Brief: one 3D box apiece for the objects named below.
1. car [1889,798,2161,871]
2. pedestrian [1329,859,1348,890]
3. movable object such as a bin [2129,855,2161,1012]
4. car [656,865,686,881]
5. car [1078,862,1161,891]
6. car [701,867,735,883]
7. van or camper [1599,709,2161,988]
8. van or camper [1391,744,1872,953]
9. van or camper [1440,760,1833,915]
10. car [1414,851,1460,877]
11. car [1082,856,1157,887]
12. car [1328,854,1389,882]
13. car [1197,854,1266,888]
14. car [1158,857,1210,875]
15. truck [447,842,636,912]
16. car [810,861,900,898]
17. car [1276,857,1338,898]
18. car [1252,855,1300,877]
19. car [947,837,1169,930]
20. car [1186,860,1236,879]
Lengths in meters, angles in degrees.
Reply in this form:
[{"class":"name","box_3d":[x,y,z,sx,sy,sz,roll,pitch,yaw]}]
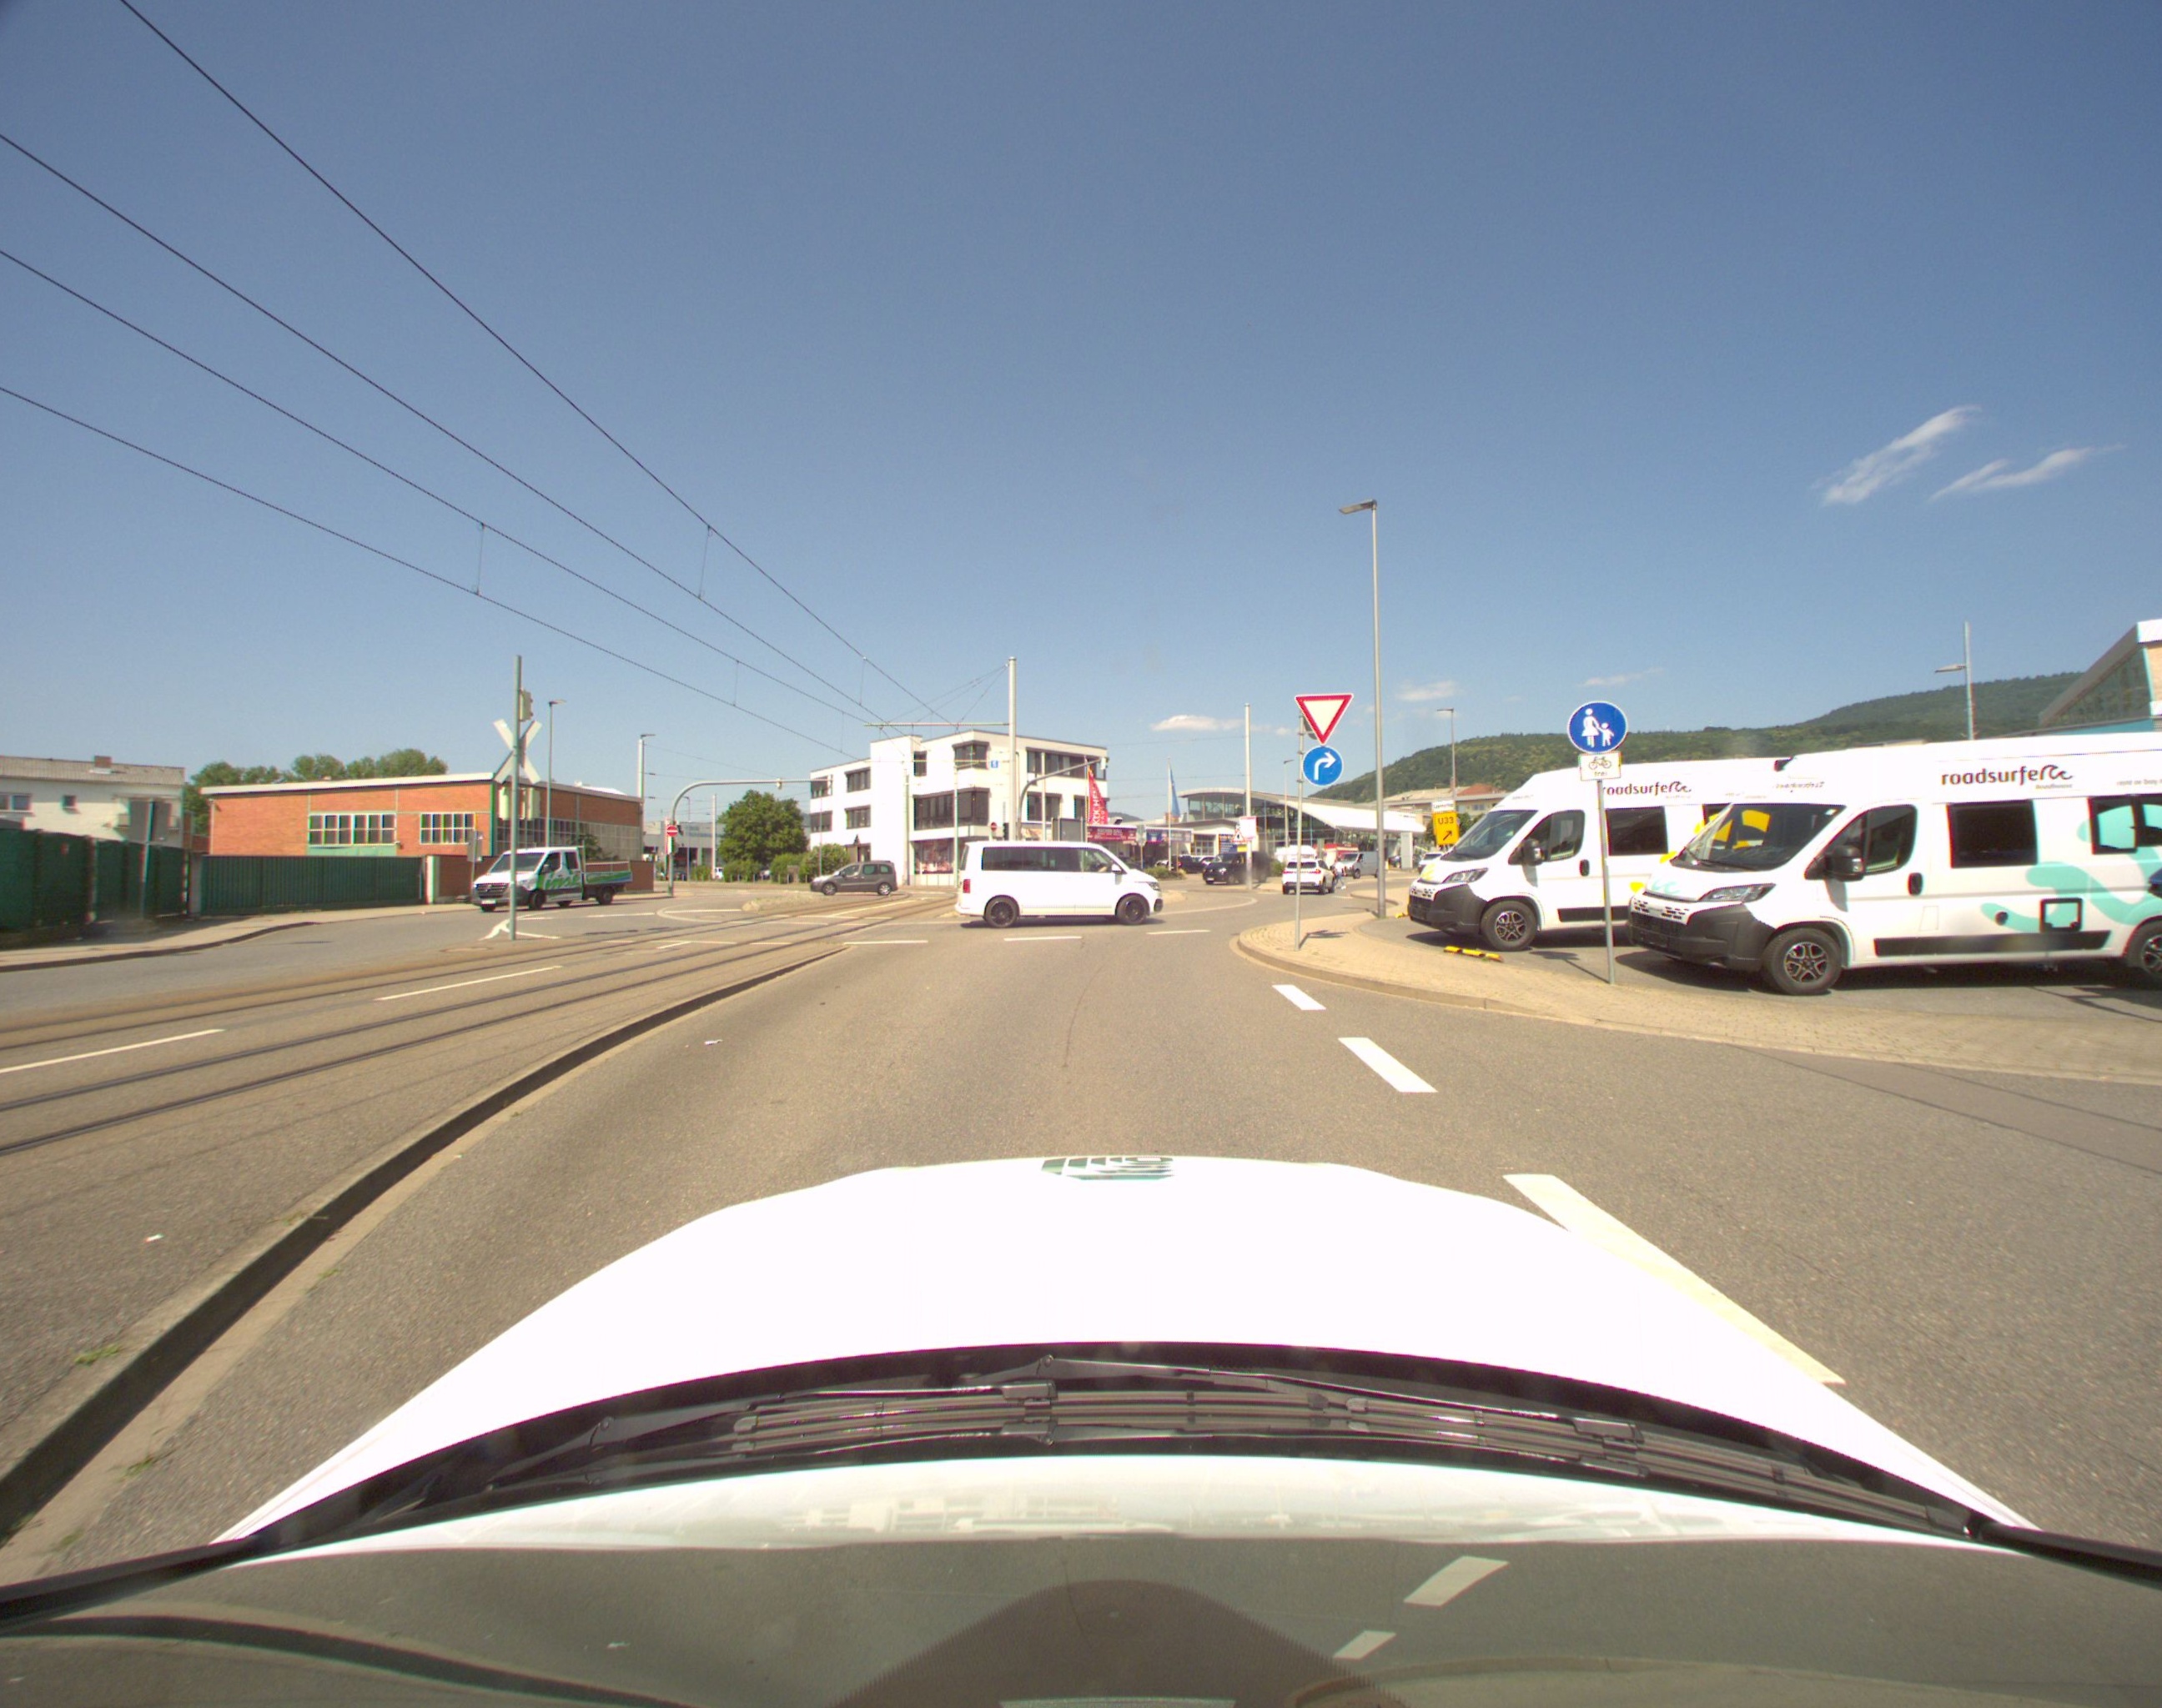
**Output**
[{"class":"car","box_3d":[27.955,-0.527,24.209,5.424,2.014,2.141,-1,-1,6]},{"class":"pedestrian","box_3d":[13.574,1.084,43.014,0.874,1.636,0.956,-1,-1,13]},{"class":"movable object such as a bin","box_3d":[10.604,0.745,7.195,1.244,1.457,1.083,-1,1,13]},{"class":"car","box_3d":[-50.460,2.308,100.218,3.949,1.783,2.012,-3,-2,43]},{"class":"car","box_3d":[2.120,1.228,45.367,4.242,1.556,1.956,0,-1,-20]},{"class":"car","box_3d":[-40.067,2.297,89.800,3.949,1.662,2.012,-3,-2,43]},{"class":"van or camper","box_3d":[9.387,-0.071,9.364,5.480,2.814,2.051,0,1,5]},{"class":"van or camper","box_3d":[8.018,-0.063,12.388,5.786,2.774,2.093,-1,0,3]},{"class":"van or camper","box_3d":[12.077,-0.324,18.154,7.037,2.946,2.335,-2,-1,0]},{"class":"car","box_3d":[30.190,0.801,69.025,2.002,2.114,4.964,-1,0,43]},{"class":"car","box_3d":[2.686,1.178,56.000,5.309,1.966,1.942,0,-1,-42]},{"class":"car","box_3d":[20.037,0.971,58.816,4.853,1.935,1.911,0,-1,-40]},{"class":"car","box_3d":[9.169,0.990,49.463,2.071,1.910,4.668,-1,0,40]},{"class":"car","box_3d":[8.423,0.940,66.267,2.007,1.427,4.343,-1,-1,43]},{"class":"truck","box_3d":[-19.889,0.816,30.549,2.190,2.337,6.403,-1,-1,8]},{"class":"car","box_3d":[-11.676,1.283,42.078,4.406,1.818,1.978,0,-1,-18]},{"class":"car","box_3d":[10.406,1.043,37.263,1.975,1.733,4.590,-1,-1,25]},{"class":"car","box_3d":[15.669,0.963,65.397,1.975,1.618,4.024,-2,-1,44]},{"class":"car","box_3d":[-0.630,0.641,19.327,5.003,2.014,2.161,0,-1,-11]},{"class":"car","box_3d":[11.593,1.380,72.495,1.863,1.589,4.957,-4,-3,44]}]
